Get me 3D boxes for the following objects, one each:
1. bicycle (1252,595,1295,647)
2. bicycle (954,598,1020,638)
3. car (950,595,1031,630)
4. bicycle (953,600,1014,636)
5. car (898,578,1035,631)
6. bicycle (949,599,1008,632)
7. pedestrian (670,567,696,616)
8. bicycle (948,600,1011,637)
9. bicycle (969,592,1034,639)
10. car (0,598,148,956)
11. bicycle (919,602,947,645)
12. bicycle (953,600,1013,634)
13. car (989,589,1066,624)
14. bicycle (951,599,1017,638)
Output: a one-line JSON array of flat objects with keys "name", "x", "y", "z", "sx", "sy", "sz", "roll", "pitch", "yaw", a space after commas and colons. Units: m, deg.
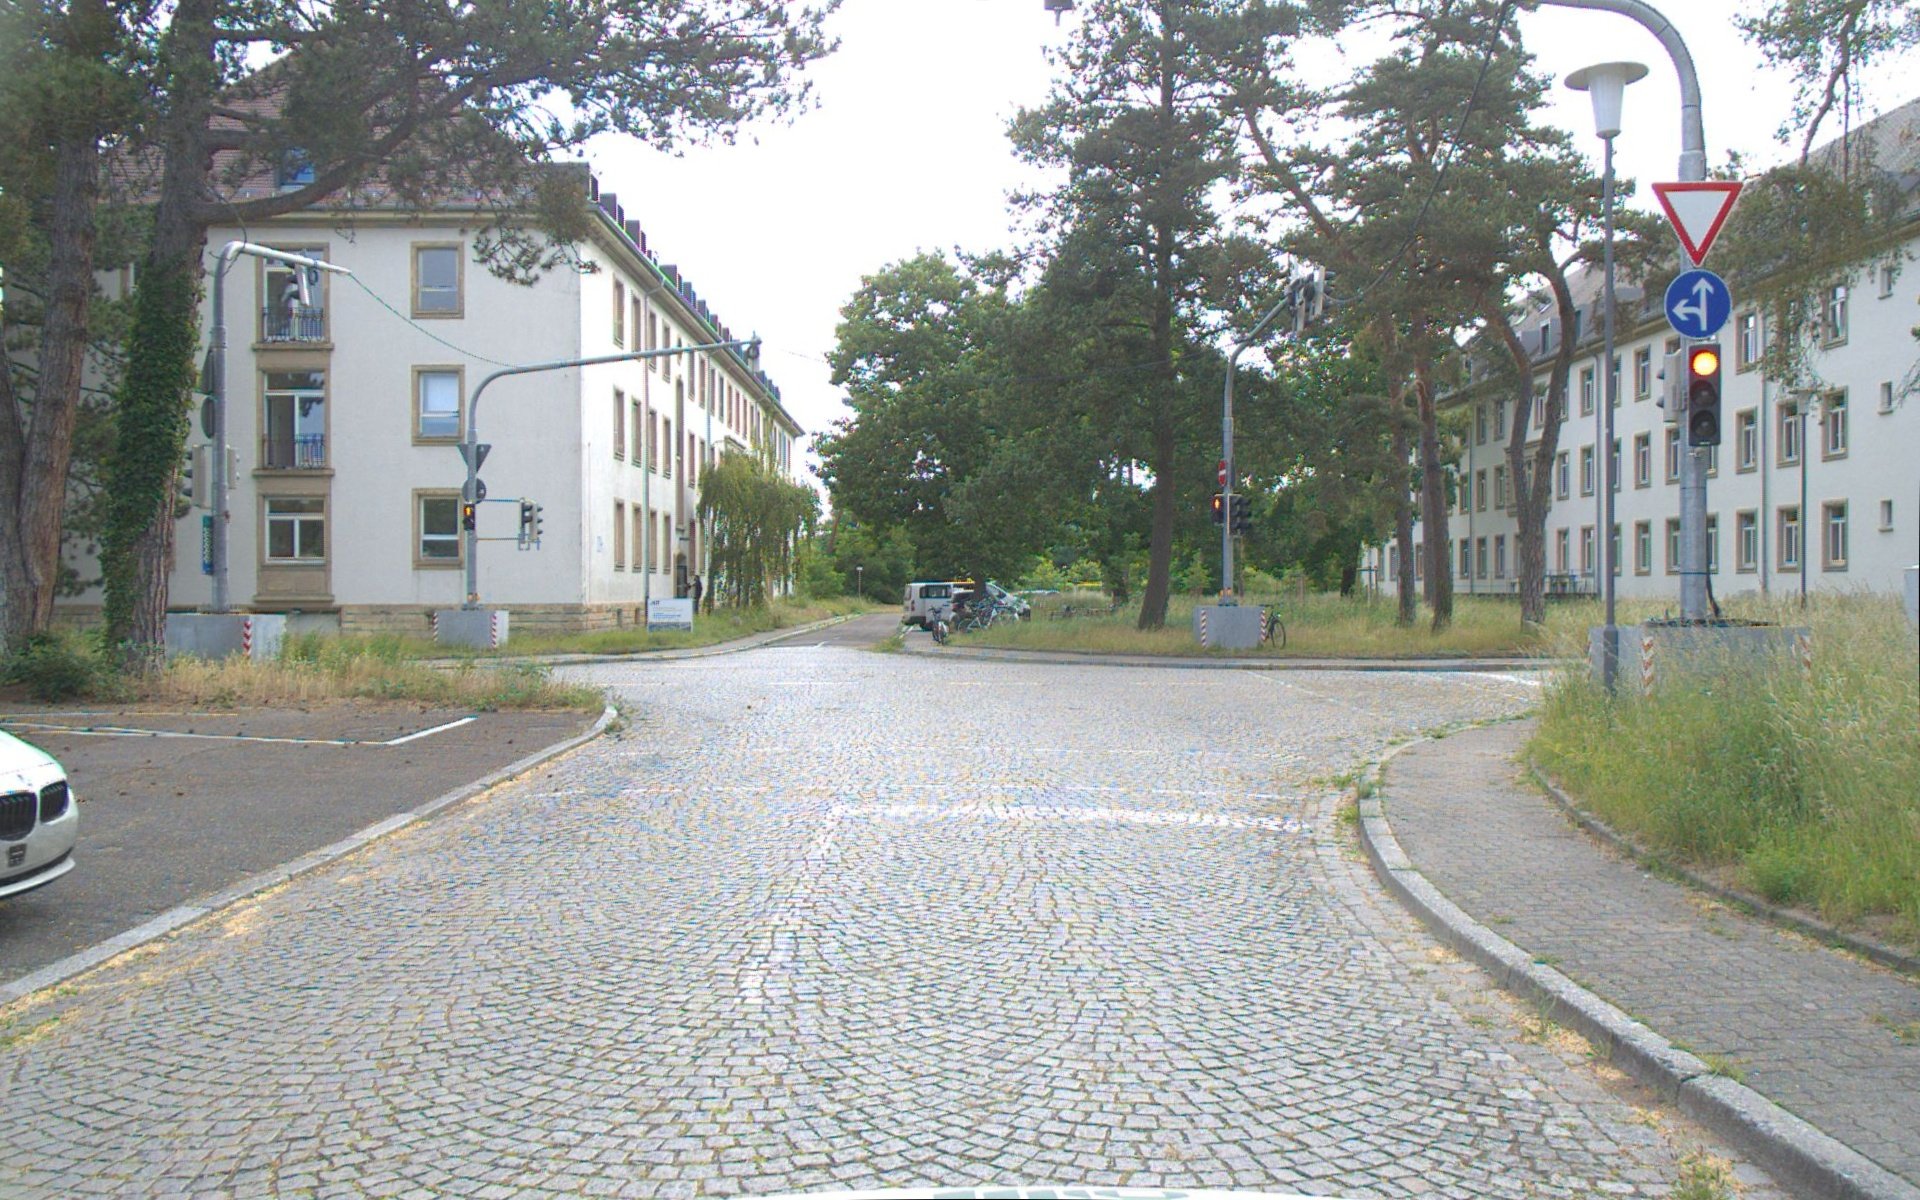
[{"name": "bicycle", "x": 6.982, "y": 0.445, "z": 36.906, "sx": 0.574, "sy": 1.125, "sz": 1.961, "roll": 0, "pitch": 0, "yaw": -1}, {"name": "bicycle", "x": 0.794, "y": 0.527, "z": 48.935, "sx": 1.918, "sy": 1.152, "sz": 0.587, "roll": 0, "pitch": 0, "yaw": -8}, {"name": "car", "x": 1.152, "y": 0.464, "z": 63.661, "sx": 2.948, "sy": 1.290, "sz": 1.533, "roll": 0, "pitch": 0, "yaw": -7}, {"name": "bicycle", "x": 0.742, "y": 0.561, "z": 52.401, "sx": 1.935, "sy": 1.088, "sz": 0.582, "roll": 0, "pitch": 0, "yaw": -31}, {"name": "car", "x": 0.249, "y": 0.168, "z": 67.012, "sx": 5.263, "sy": 1.958, "sz": 2.020, "roll": -2, "pitch": 0, "yaw": -10}, {"name": "bicycle", "x": 0.627, "y": 0.530, "z": 56.086, "sx": 1.930, "sy": 1.088, "sz": 0.583, "roll": 0, "pitch": 0, "yaw": -26}, {"name": "pedestrian", "x": -10.801, "y": -0.335, "z": 64.522, "sx": 0.766, "sy": 1.869, "sz": 0.733, "roll": 0, "pitch": 0, "yaw": -32}, {"name": "bicycle", "x": 0.606, "y": 0.565, "z": 51.050, "sx": 1.935, "sy": 1.088, "sz": 0.582, "roll": 0, "pitch": 0, "yaw": -31}, {"name": "bicycle", "x": 1.247, "y": 0.462, "z": 50.405, "sx": 1.918, "sy": 1.408, "sz": 0.587, "roll": 0, "pitch": 0, "yaw": -8}, {"name": "car", "x": -5.874, "y": 0.660, "z": 7.119, "sx": 3.868, "sy": 1.446, "sz": 1.650, "roll": 3, "pitch": 0, "yaw": -1}, {"name": "bicycle", "x": -0.751, "y": 0.645, "z": 45.719, "sx": 0.591, "sy": 1.152, "sz": 1.959, "roll": 0, "pitch": 0, "yaw": -6}, {"name": "bicycle", "x": 0.753, "y": 0.540, "z": 53.756, "sx": 1.930, "sy": 1.088, "sz": 0.583, "roll": 0, "pitch": 0, "yaw": -26}, {"name": "car", "x": 2.890, "y": 0.264, "z": 70.927, "sx": 3.168, "sy": 1.441, "sz": 1.724, "roll": 0, "pitch": 0, "yaw": -3}, {"name": "bicycle", "x": 0.725, "y": 0.548, "z": 49.568, "sx": 1.918, "sy": 1.136, "sz": 0.587, "roll": 0, "pitch": 0, "yaw": -8}]
